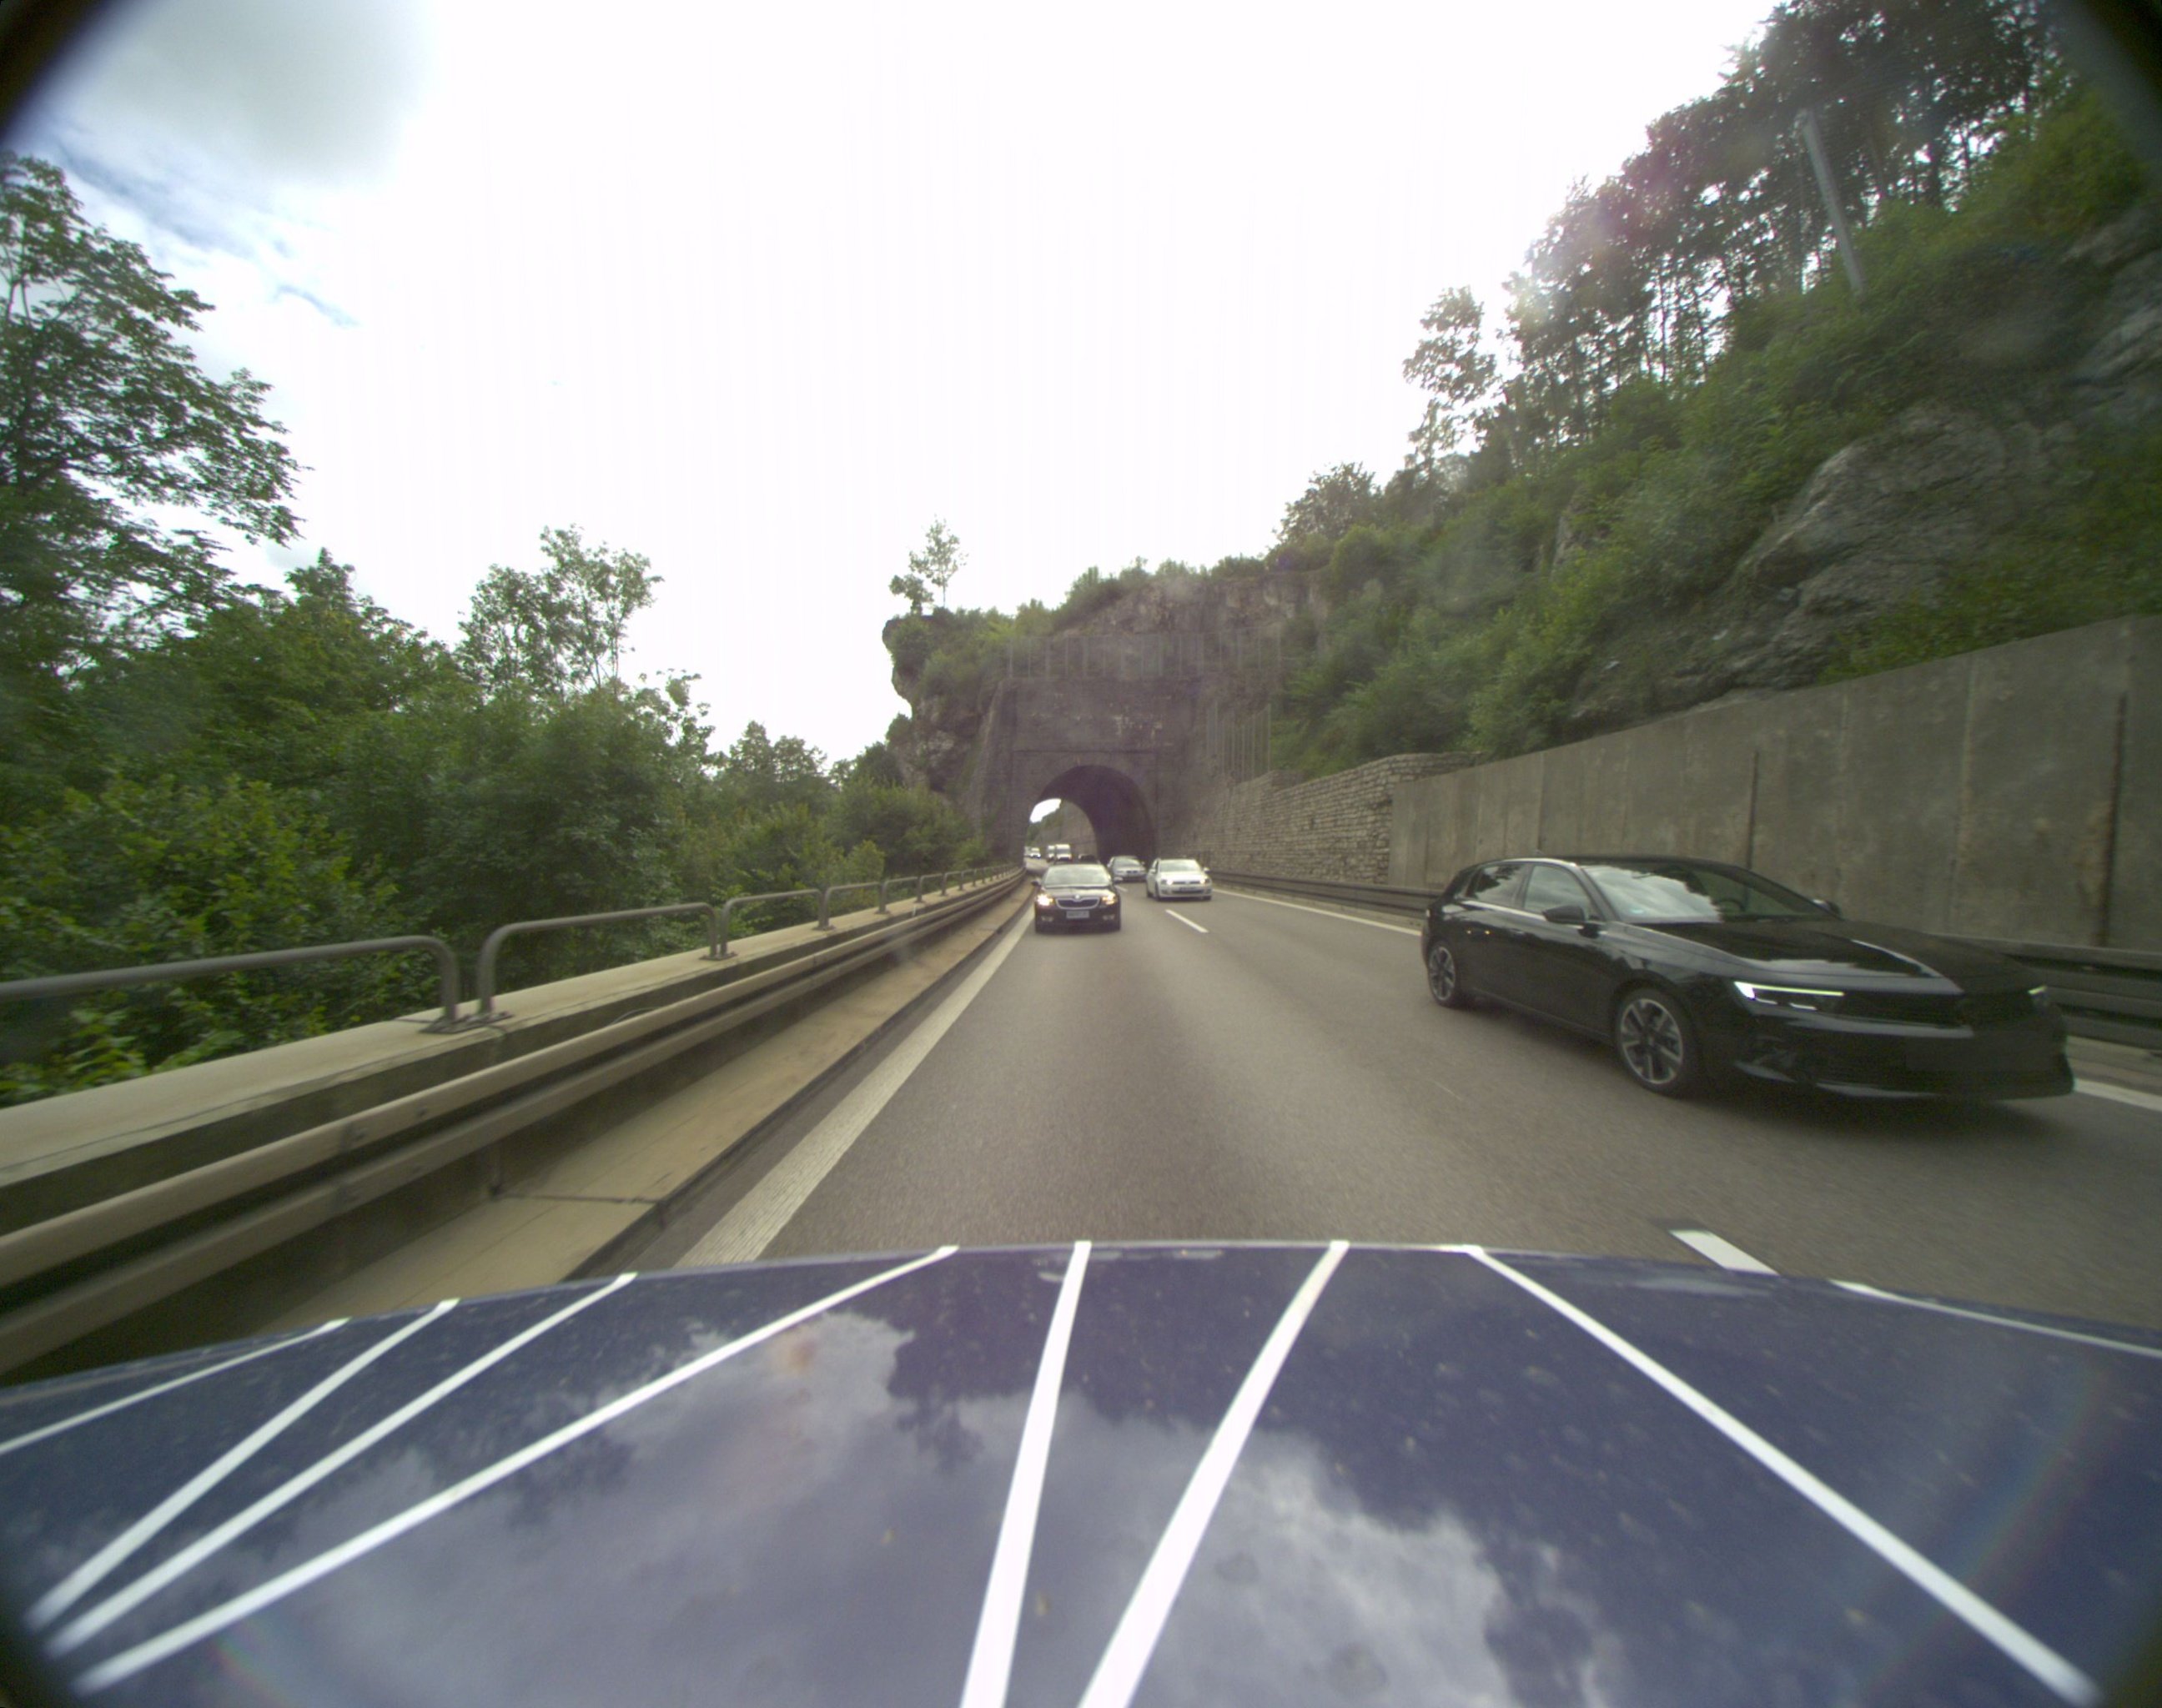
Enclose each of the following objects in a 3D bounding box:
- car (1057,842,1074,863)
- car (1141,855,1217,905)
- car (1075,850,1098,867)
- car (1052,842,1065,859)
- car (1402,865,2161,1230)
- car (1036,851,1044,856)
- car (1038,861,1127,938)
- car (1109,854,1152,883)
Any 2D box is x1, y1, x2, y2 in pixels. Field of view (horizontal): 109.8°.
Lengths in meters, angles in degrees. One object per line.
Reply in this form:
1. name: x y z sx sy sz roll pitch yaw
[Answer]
1. car: -1.975 -0.224 97.053 1.869 2.444 4.981 -3 2 -3
2. car: 3.260 0.831 26.155 1.850 1.473 4.626 -2 1 -2
3. car: 0.499 0.468 71.219 1.923 1.452 4.230 -3 0 -2
4. car: -3.553 -0.617 119.612 1.869 2.444 4.981 -3 2 -3
5. car: 4.237 0.873 5.583 1.778 1.452 4.581 -2 0 0
6. car: -9.641 -0.134 179.626 1.652 1.310 4.066 -2 1 -8
7. car: 0.013 0.911 17.051 1.677 1.418 4.473 -3 0 0
8. car: 2.708 0.789 42.902 1.833 1.448 5.134 -3 0 -3
